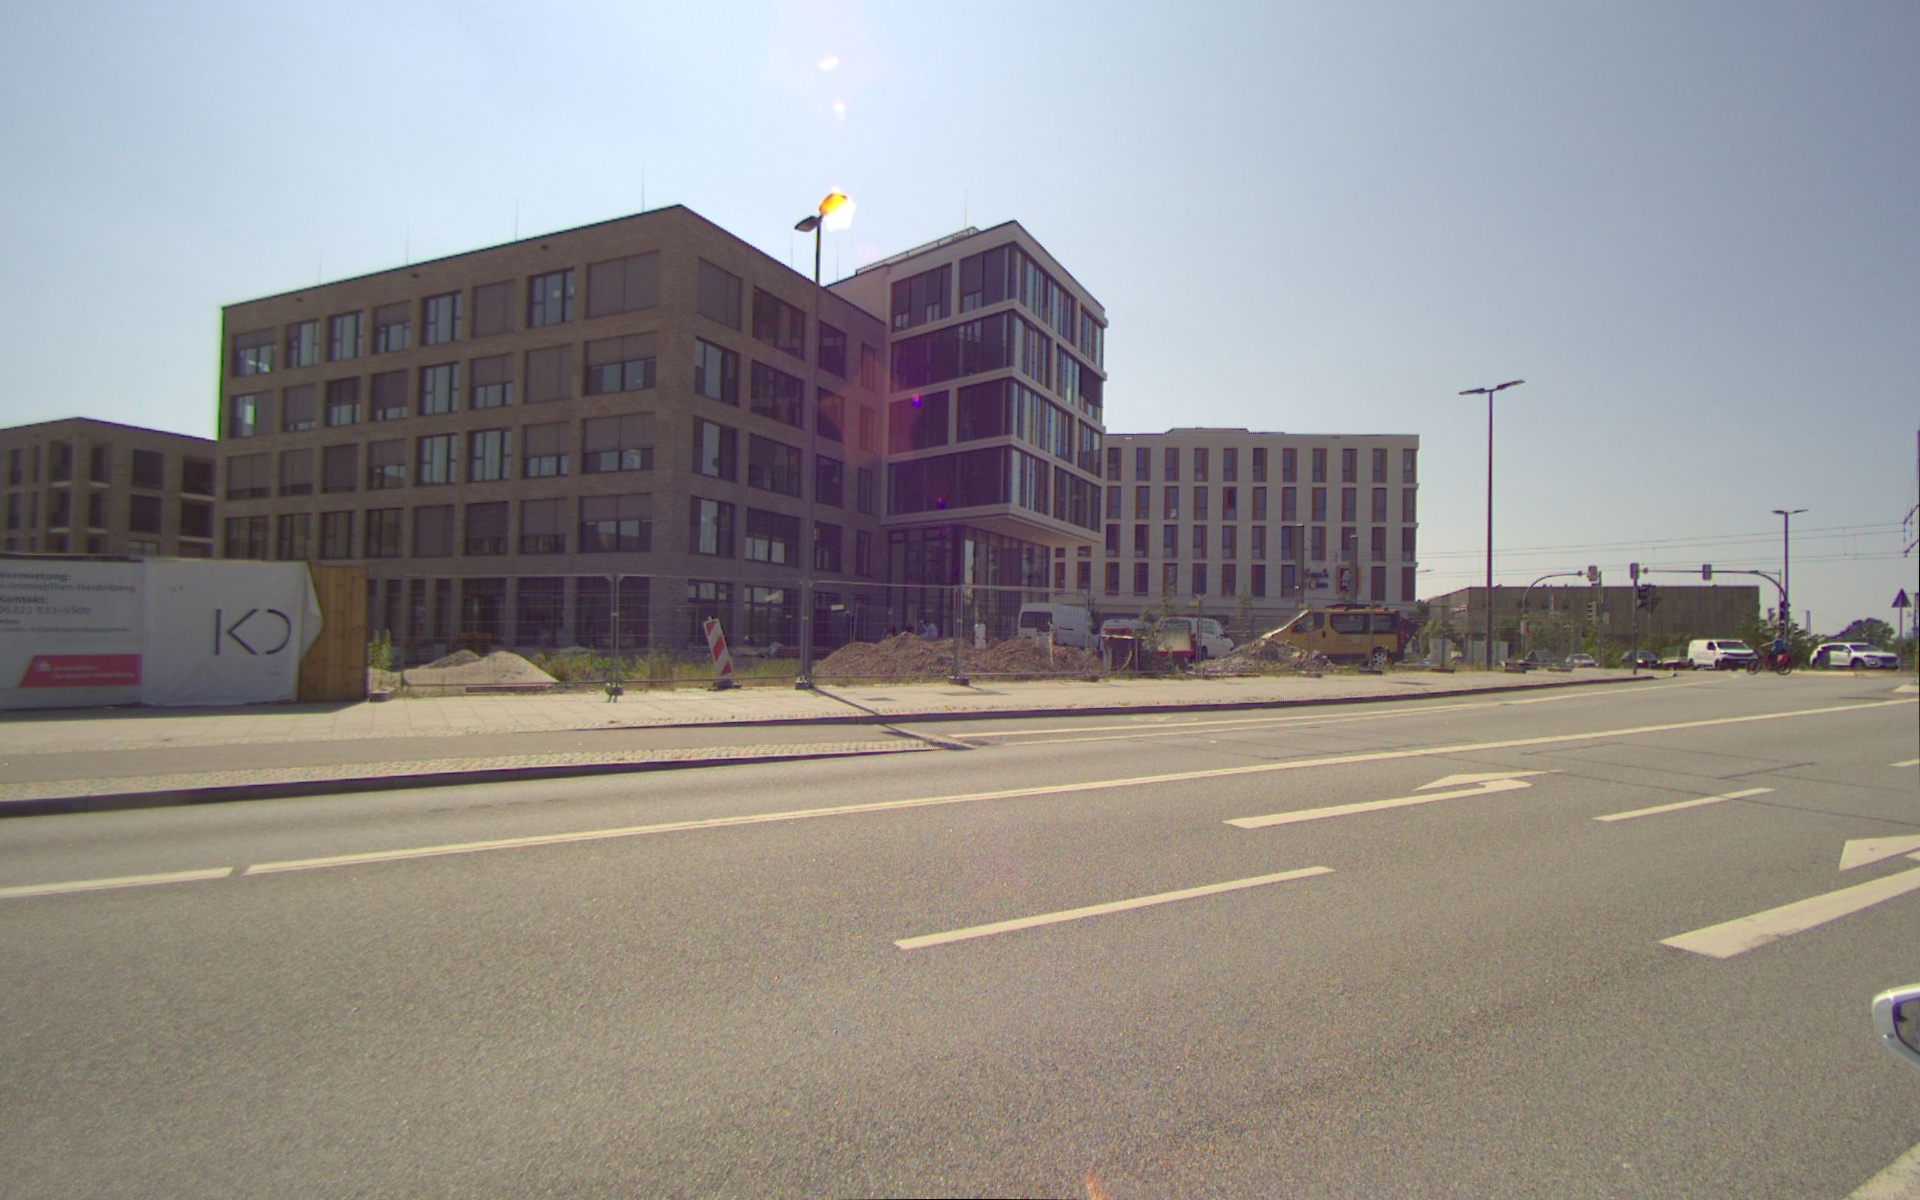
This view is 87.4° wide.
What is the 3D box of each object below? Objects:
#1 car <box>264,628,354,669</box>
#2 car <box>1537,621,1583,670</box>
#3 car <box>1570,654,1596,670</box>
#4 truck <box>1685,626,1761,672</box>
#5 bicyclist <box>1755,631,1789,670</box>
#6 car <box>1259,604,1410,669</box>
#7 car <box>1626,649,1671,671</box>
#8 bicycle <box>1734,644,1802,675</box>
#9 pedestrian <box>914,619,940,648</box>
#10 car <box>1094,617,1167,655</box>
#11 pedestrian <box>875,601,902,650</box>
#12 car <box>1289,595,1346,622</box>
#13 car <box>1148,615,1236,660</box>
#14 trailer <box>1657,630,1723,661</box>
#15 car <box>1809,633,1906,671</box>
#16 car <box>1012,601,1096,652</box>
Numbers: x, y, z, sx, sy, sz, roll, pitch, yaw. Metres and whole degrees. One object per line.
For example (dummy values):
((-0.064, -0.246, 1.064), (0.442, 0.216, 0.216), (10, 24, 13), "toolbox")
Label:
((-30.122, 2.200, 46.482), (3.708, 1.675, 1.834), (2, 0, 26), "car")
((26.954, 1.993, 45.141), (1.646, 2.040, 3.991), (2, 0, 31), "car")
((52.691, 5.248, 84.943), (1.254, 1.257, 2.485), (1, -1, 18), "car")
((46.373, 2.948, 61.175), (1.960, 2.574, 4.711), (1, -1, 14), "truck")
((33.459, 2.077, 41.388), (0.810, 1.524, 0.719), (2, 0, -14), "bicyclist")
((12.495, 1.193, 33.811), (4.395, 1.915, 2.001), (2, 0, 9), "car")
((49.848, 4.327, 72.819), (1.633, 1.408, 3.788), (2, 0, 18), "car")
((33.396, 2.436, 41.576), (0.626, 1.148, 2.321), (1, -1, -12), "bicycle")
((-1.619, 1.639, 49.645), (1.098, 1.391, 0.742), (2, 0, -17), "pedestrian")
((7.503, 1.544, 43.849), (1.774, 1.528, 3.991), (2, 0, 31), "car")
((-3.109, 1.096, 43.570), (0.949, 2.040, 0.940), (2, 0, -17), "pedestrian")
((29.261, 0.679, 82.287), (1.986, 2.040, 3.949), (2, 0, -43), "car")
((9.838, 1.552, 42.316), (1.969, 1.730, 4.545), (2, 0, 35), "car")
((47.436, 2.934, 65.409), (1.960, 1.799, 4.288), (2, 0, 14), "trailer")
((49.036, 2.818, 54.993), (1.893, 1.839, 4.048), (2, -1, 6), "car")
((4.261, 1.169, 44.872), (2.175, 2.083, 4.164), (2, 0, 30), "car")
